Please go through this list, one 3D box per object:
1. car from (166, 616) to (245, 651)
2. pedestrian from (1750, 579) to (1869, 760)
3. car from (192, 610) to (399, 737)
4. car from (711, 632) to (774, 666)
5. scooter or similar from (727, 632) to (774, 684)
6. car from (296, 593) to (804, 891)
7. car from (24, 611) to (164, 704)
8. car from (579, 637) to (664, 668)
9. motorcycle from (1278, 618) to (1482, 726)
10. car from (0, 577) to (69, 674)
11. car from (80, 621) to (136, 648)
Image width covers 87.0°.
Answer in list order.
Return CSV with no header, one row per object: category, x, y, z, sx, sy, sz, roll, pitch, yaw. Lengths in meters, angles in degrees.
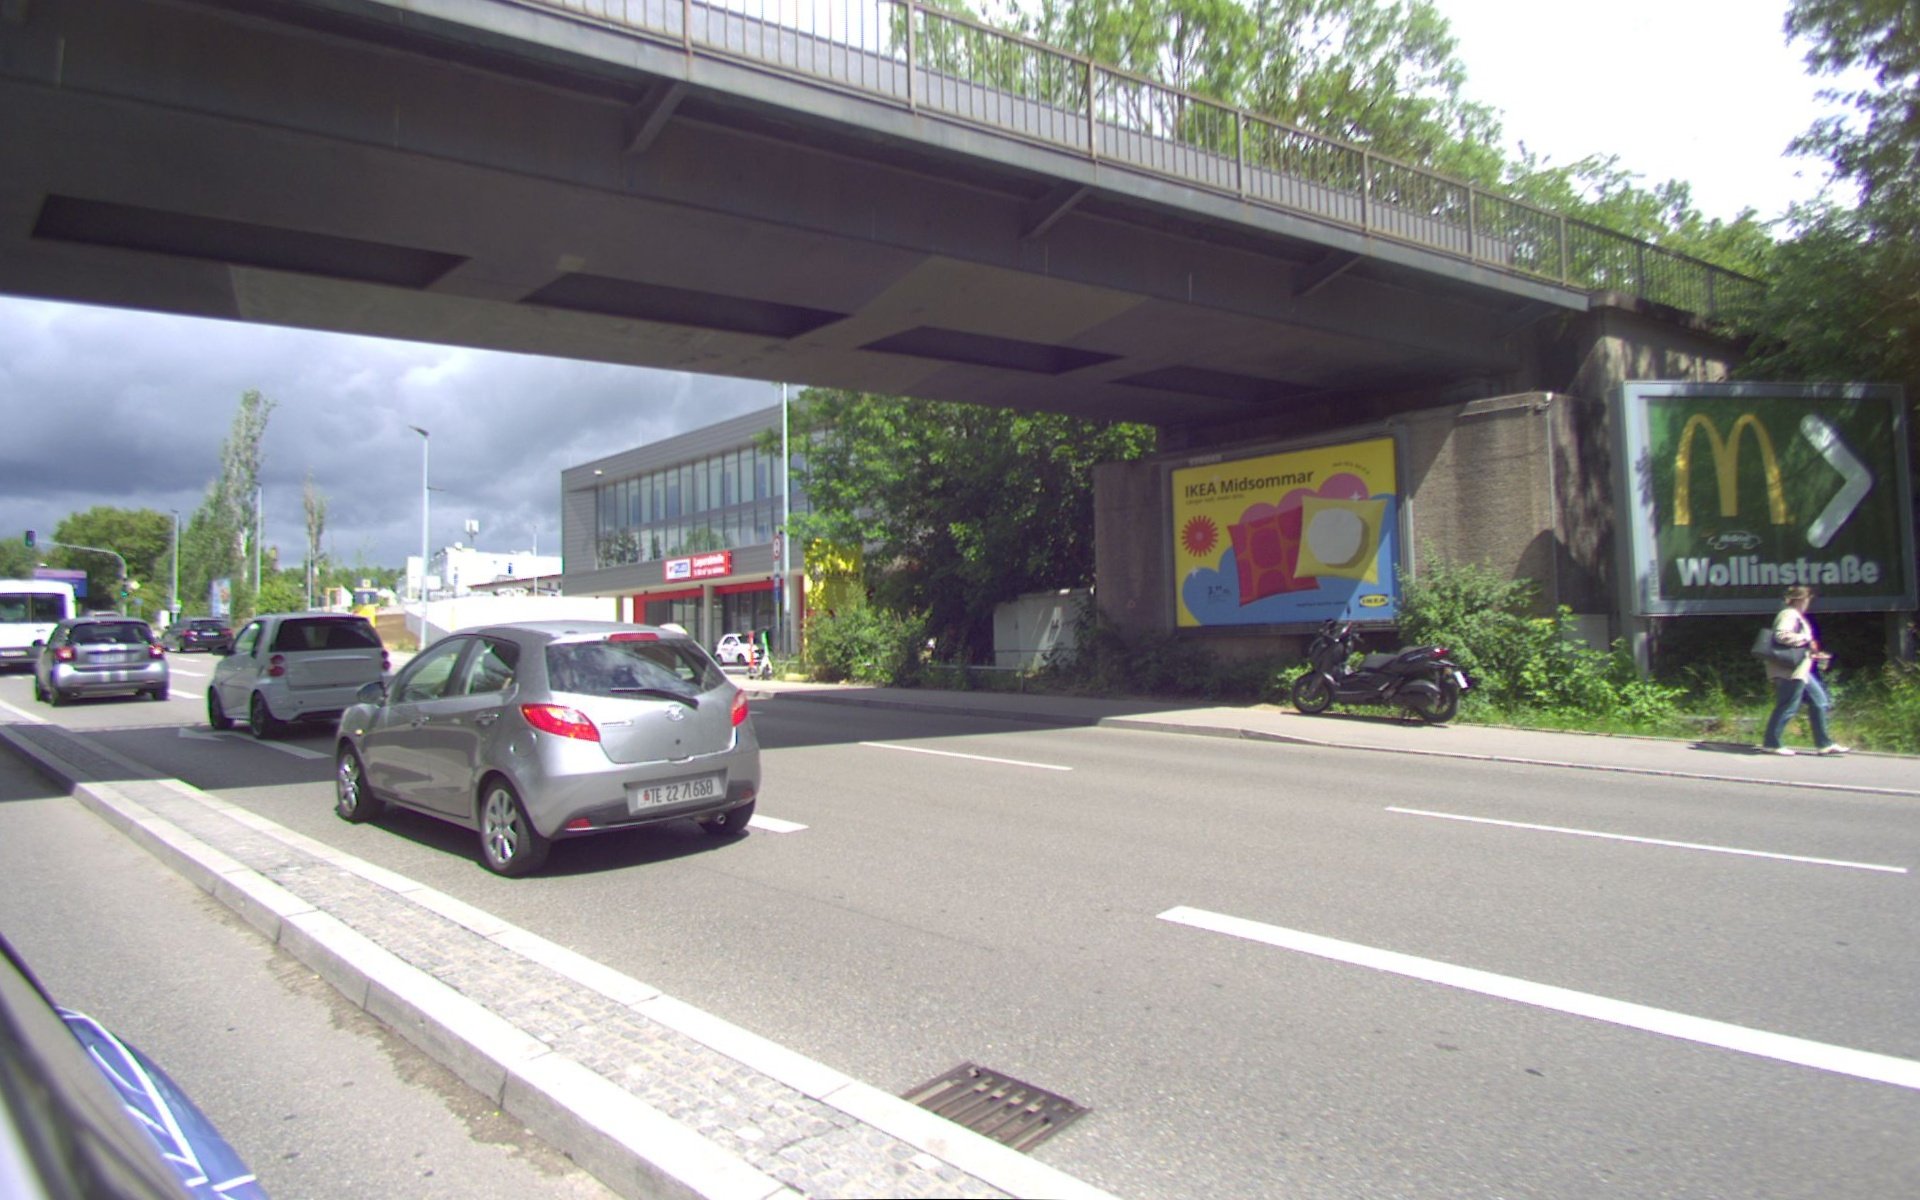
car,-31.176,1.373,41.775,4.000,1.364,1.971,-2,-2,43
pedestrian,8.133,0.629,9.707,0.813,1.624,0.760,-2,1,41
car,-8.999,0.910,13.641,3.113,1.500,1.490,-1,-1,40
car,-10.350,2.300,48.129,2.844,1.595,1.551,-2,-3,41
scooter or similar,-4.702,1.278,22.642,0.470,1.129,1.387,2,-2,-37
car,-3.028,0.764,7.066,3.982,1.500,1.691,-1,-2,41
car,-15.830,0.998,18.478,2.736,1.543,1.552,-2,-1,41
car,-18.374,2.826,54.966,1.958,1.630,3.946,-2,-2,40
motorcycle,5.200,0.848,12.646,2.256,1.207,0.633,-1,1,41
car,-26.486,0.712,28.129,5.571,2.491,2.018,-2,-1,43
car,-48.241,1.935,57.267,4.000,1.498,1.971,-2,-2,43
